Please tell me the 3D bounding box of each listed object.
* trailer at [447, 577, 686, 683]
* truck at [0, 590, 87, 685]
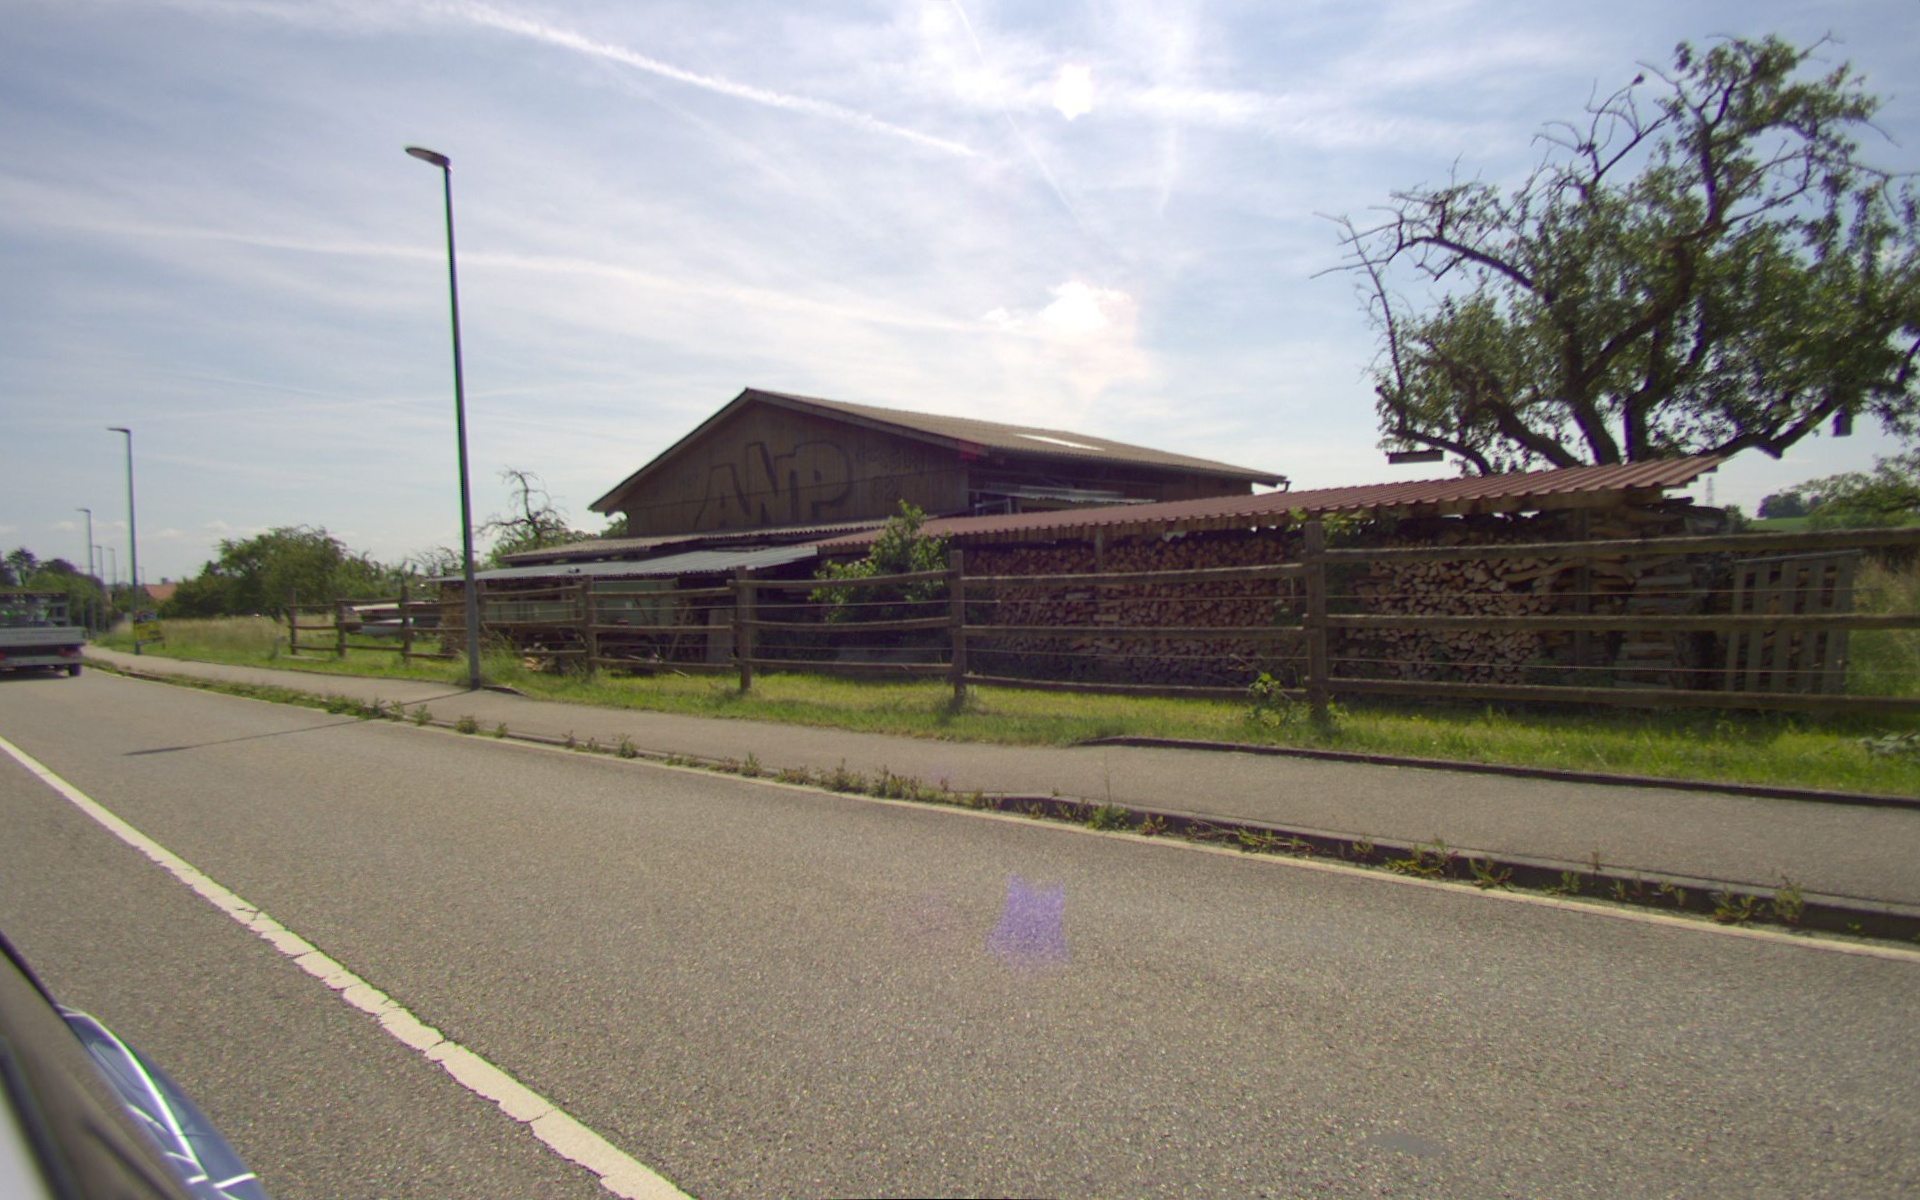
[{"bbox_3d":[-7.510,0.519,19.065,5.027,1.716,2.132,-1,0,42],"label":"trailer"},{"bbox_3d":[-25.670,0.967,27.623,6.494,2.310,2.198,-1,1,44],"label":"truck"}]
